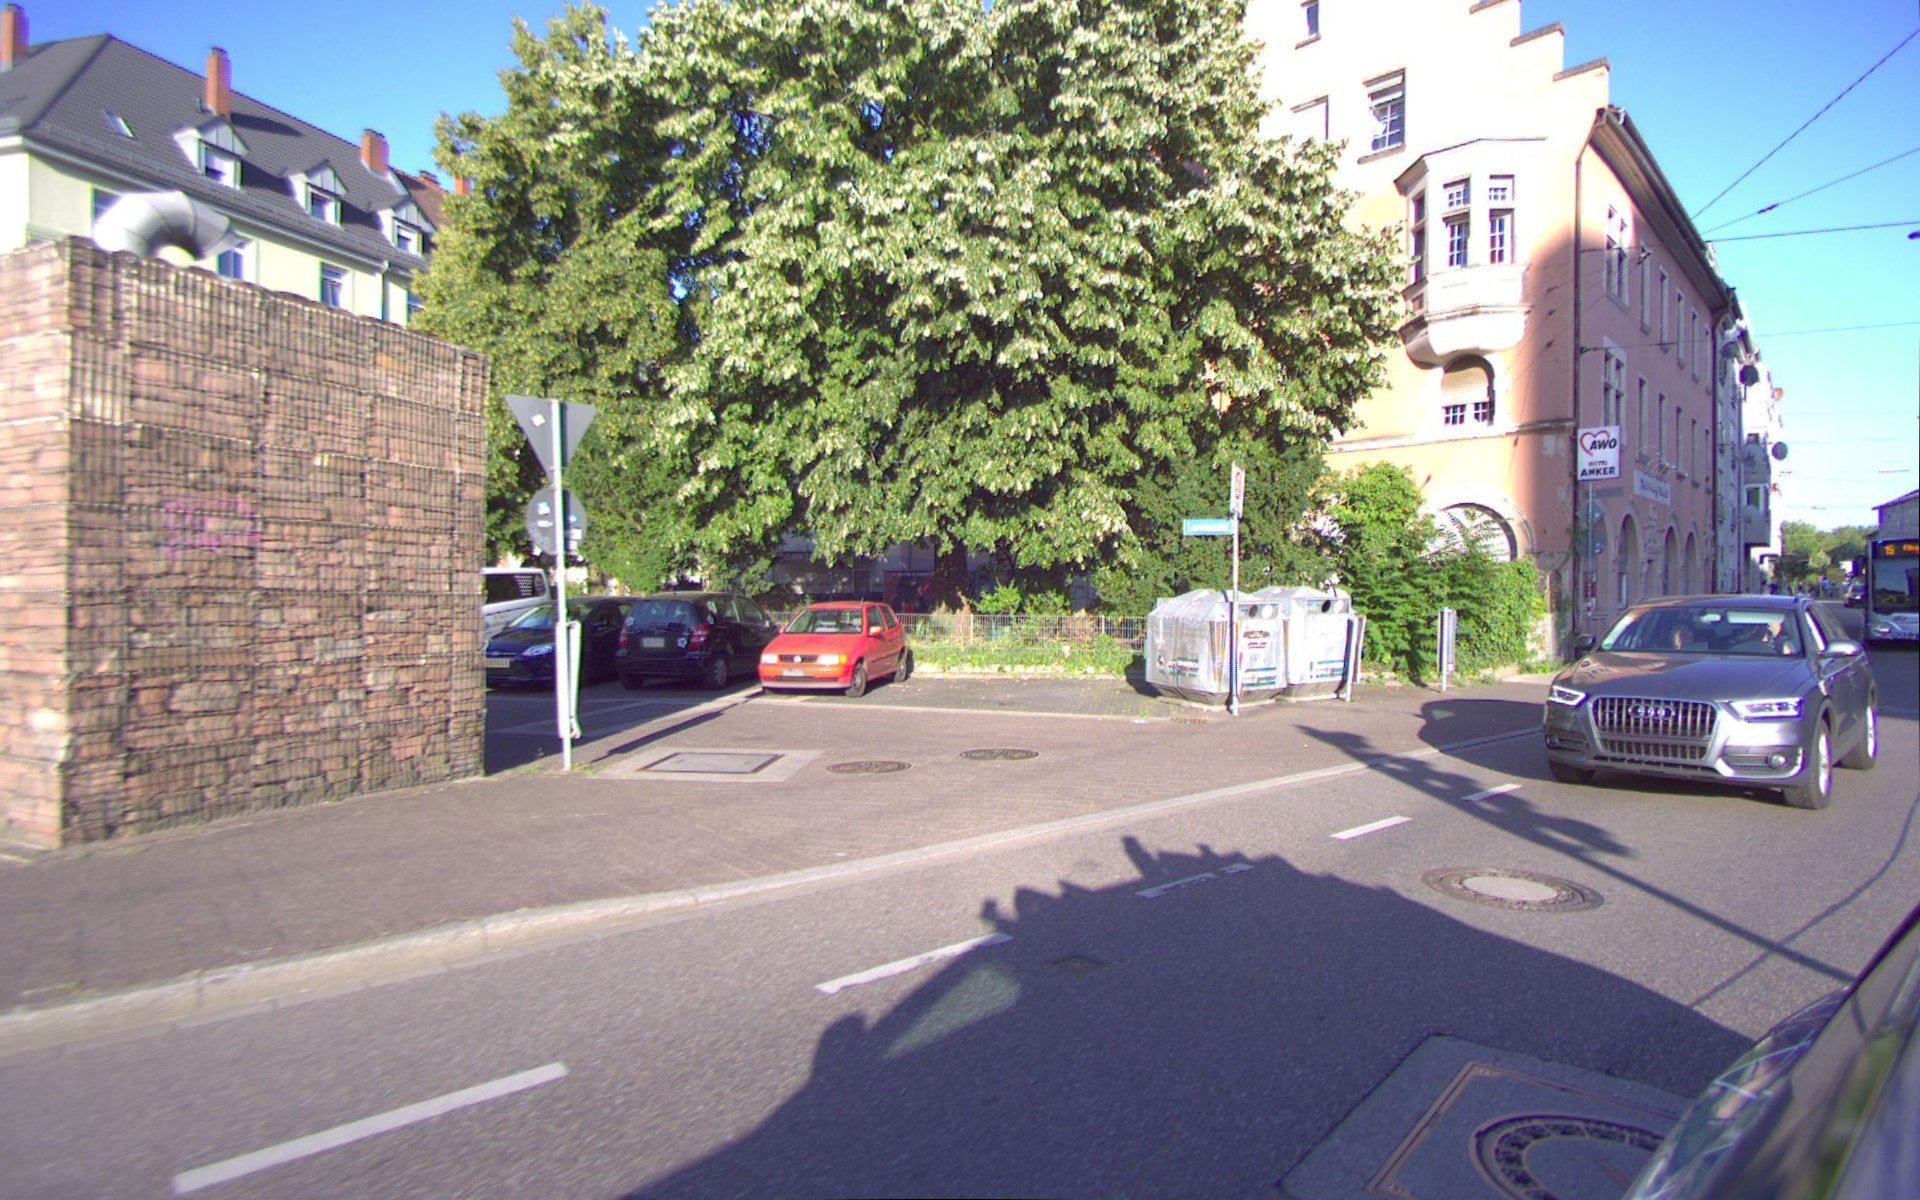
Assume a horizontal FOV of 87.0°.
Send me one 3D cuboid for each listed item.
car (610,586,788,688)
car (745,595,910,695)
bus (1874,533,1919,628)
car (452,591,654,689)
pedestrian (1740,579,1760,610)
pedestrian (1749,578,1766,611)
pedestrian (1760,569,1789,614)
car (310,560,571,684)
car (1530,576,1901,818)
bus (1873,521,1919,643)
[{"bbox_3d":[-4.377,0.561,17.477,1.606,1.556,3.433,-1,1,12],"label":"car"},{"bbox_3d":[-2.033,0.639,16.418,1.606,1.374,3.433,0,1,12],"label":"car"},{"bbox_3d":[35.324,-0.727,37.039,2.704,3.116,10.439,-1,0,42],"label":"bus"},{"bbox_3d":[-6.849,0.596,17.403,1.606,1.477,3.433,0,1,12],"label":"car"},{"bbox_3d":[32.888,-0.235,42.121,0.587,1.267,0.575,1,1,43],"label":"pedestrian"},{"bbox_3d":[33.466,-0.221,42.478,0.513,1.361,0.601,1,2,39],"label":"pedestrian"},{"bbox_3d":[33.340,-0.348,41.429,0.830,1.794,0.980,1,1,43],"label":"pedestrian"},{"bbox_3d":[-9.387,0.304,18.818,1.895,2.003,4.737,0,1,9],"label":"car"},{"bbox_3d":[6.642,0.637,8.740,3.997,1.607,1.769,0,0,-41],"label":"car"},{"bbox_3d":[28.313,-0.555,29.288,2.723,3.116,10.439,-1,0,42],"label":"bus"}]
